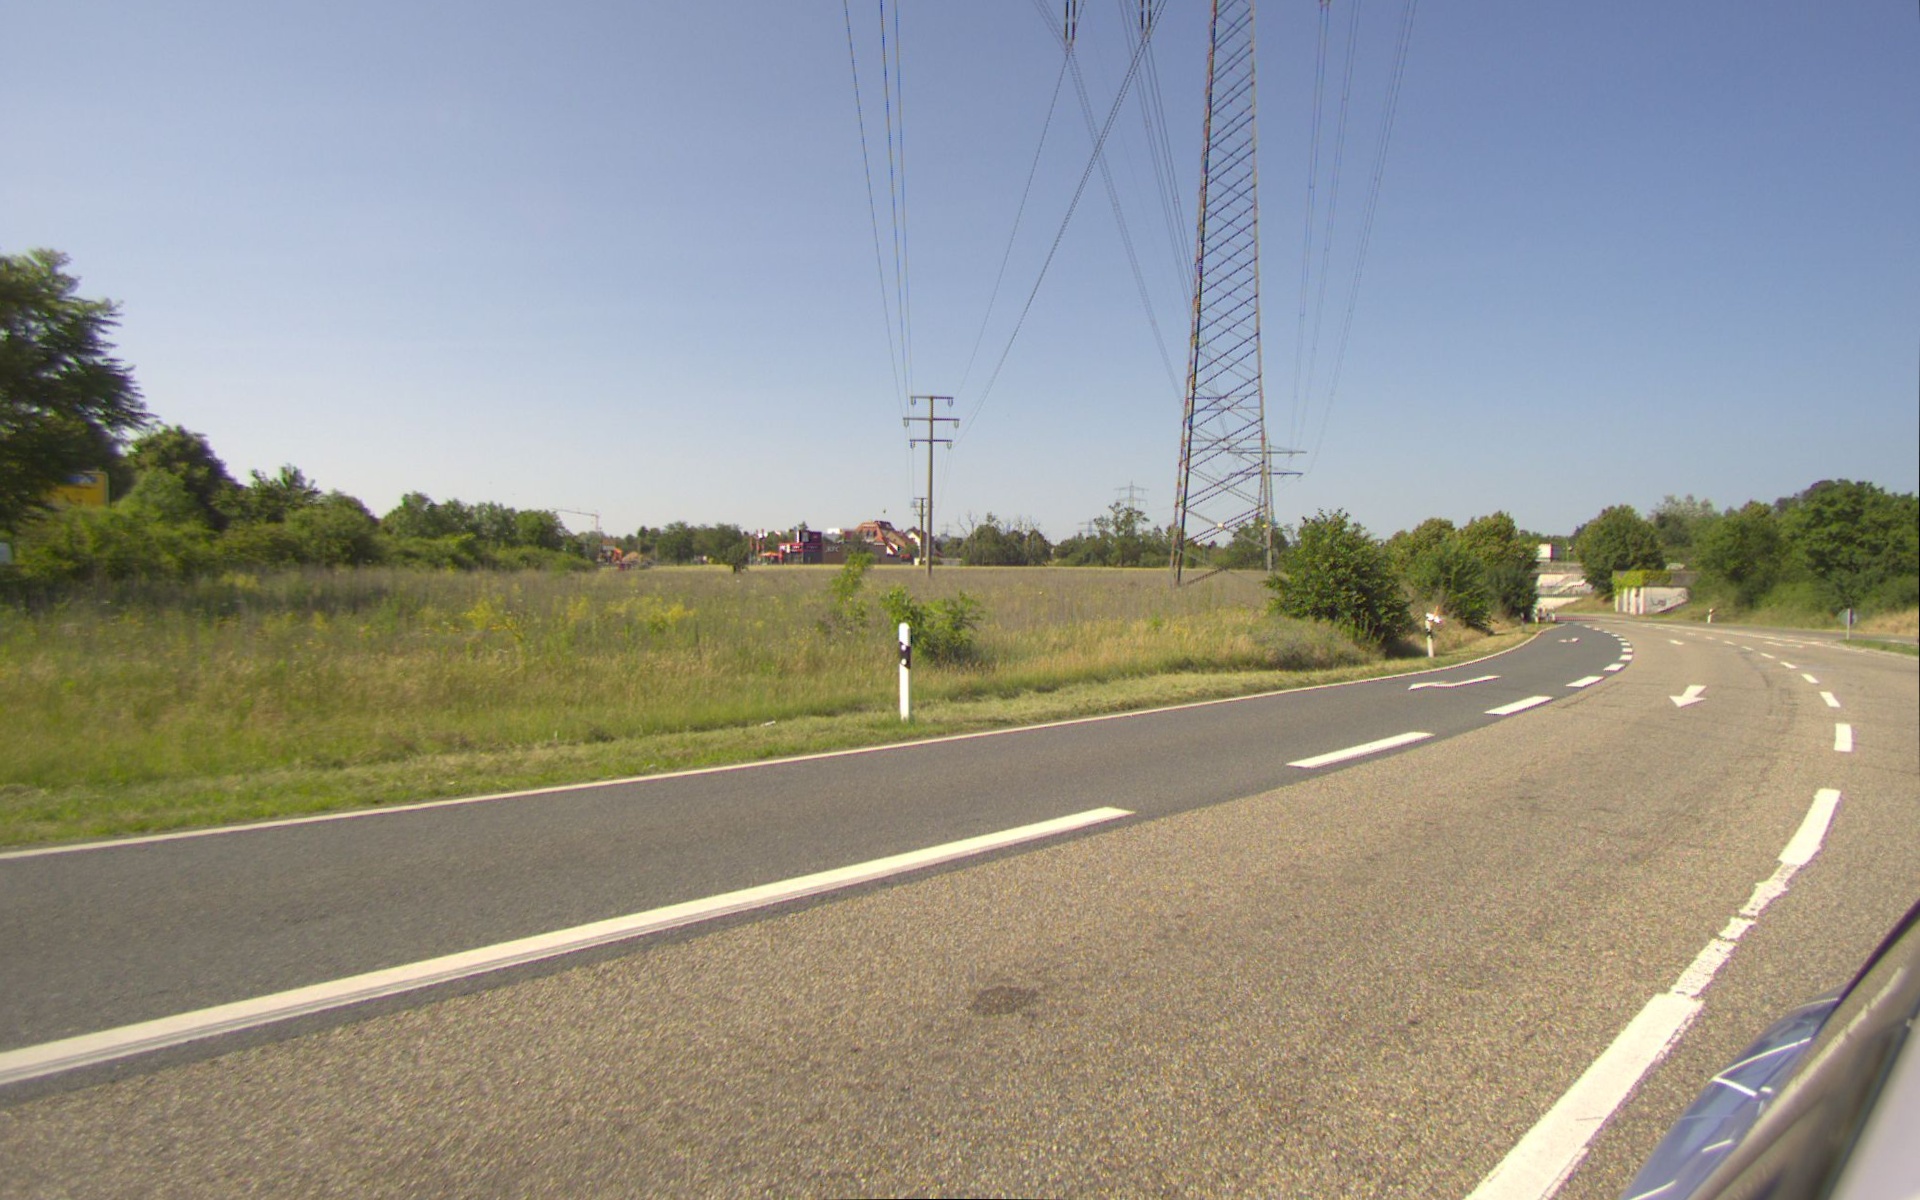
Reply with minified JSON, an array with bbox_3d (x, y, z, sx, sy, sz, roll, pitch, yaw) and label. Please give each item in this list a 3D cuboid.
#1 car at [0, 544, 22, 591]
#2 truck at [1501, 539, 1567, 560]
[{"bbox_3d":[-51.393,-1.729,53.088,1.431,2.467,3.914,0,0,-12],"label":"car"},{"bbox_3d":[99.425,-8.710,175.460,2.329,3.067,10.164,0,0,-29],"label":"truck"}]
